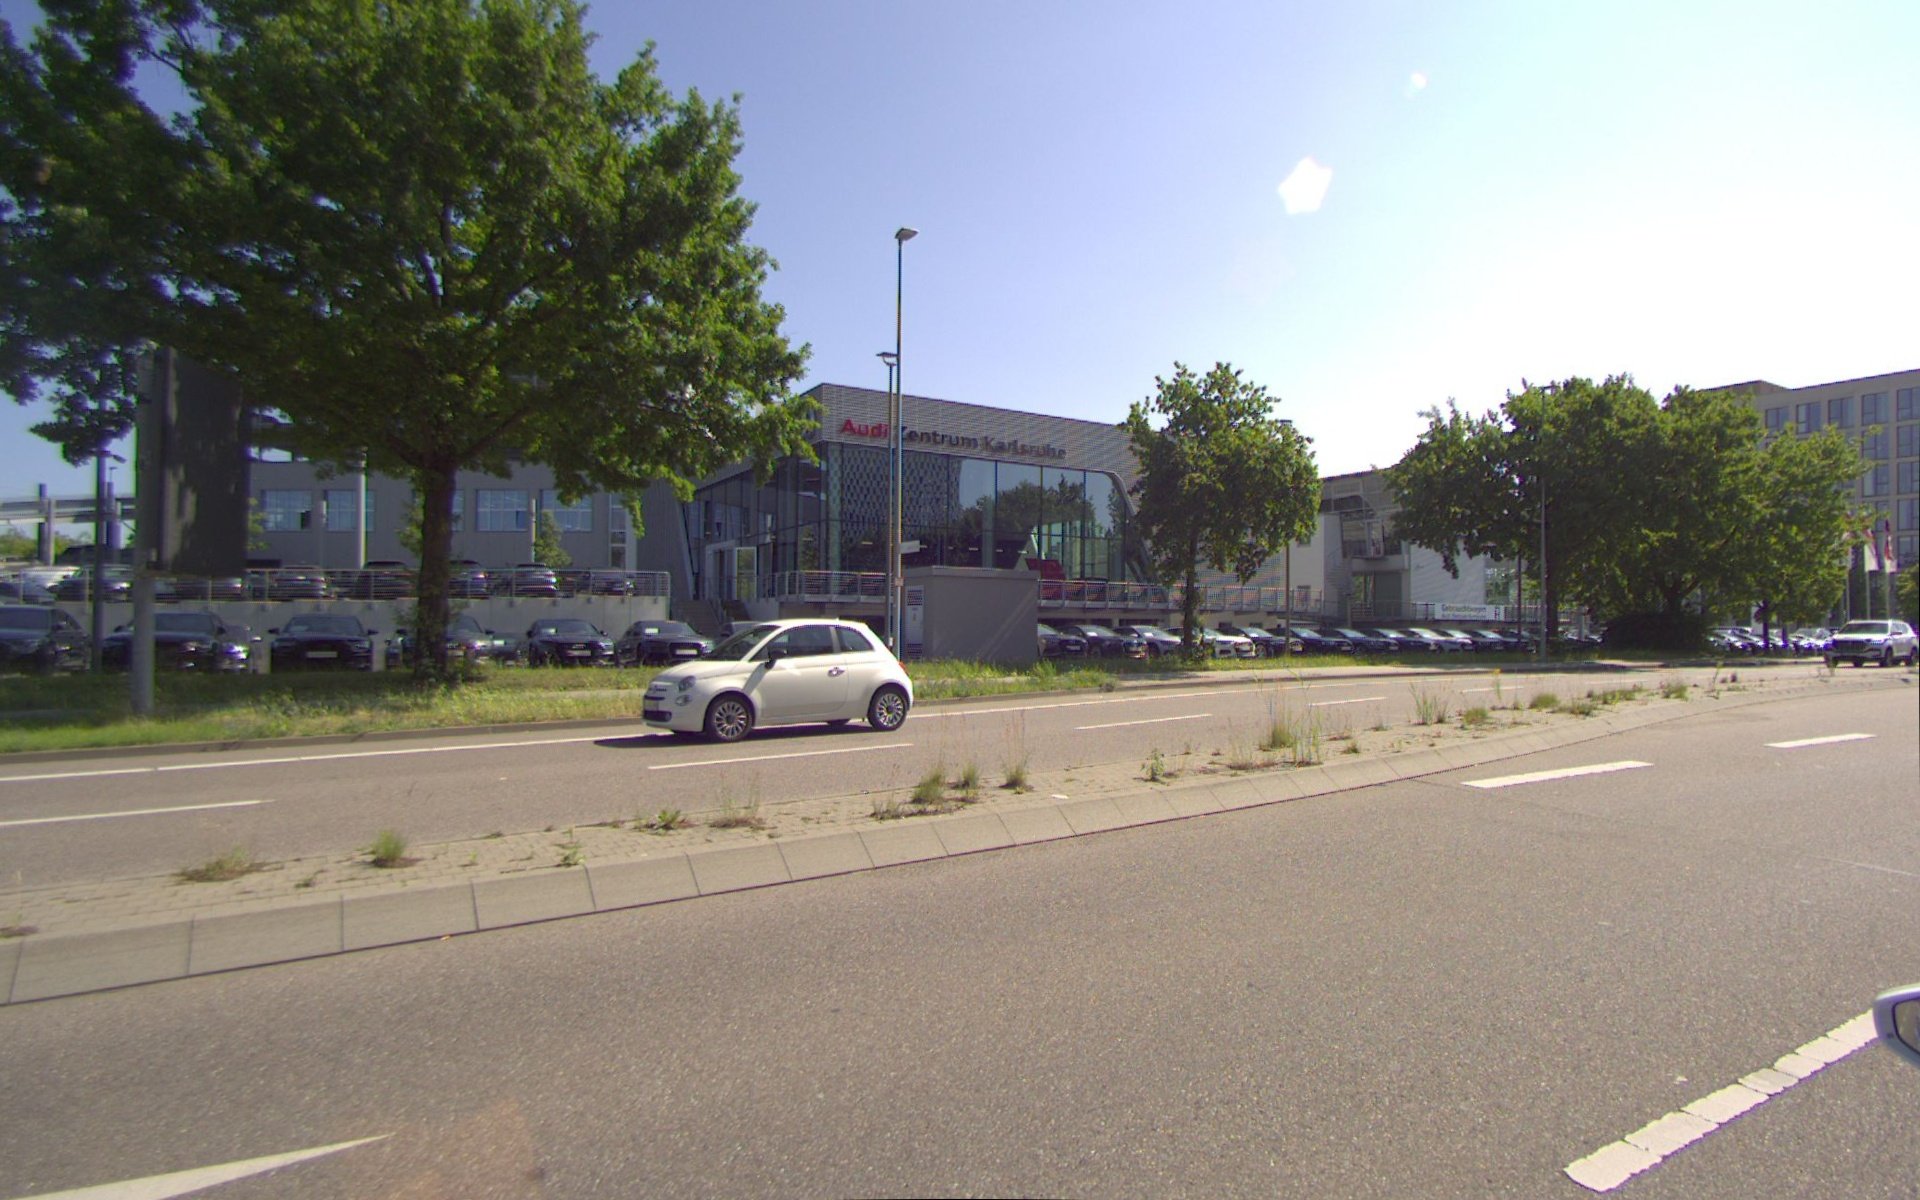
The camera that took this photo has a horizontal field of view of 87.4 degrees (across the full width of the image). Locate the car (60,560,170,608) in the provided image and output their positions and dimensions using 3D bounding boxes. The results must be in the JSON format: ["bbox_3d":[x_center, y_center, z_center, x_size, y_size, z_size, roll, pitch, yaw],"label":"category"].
[{"bbox_3d":[-27.490,-0.467,32.832,1.930,1.368,4.247,1,-1,-29],"label":"car"}]

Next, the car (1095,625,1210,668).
[{"bbox_3d":[6.660,1.584,35.119,1.843,1.394,3.968,1,-2,-30],"label":"car"}]

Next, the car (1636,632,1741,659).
[{"bbox_3d":[38.976,2.394,53.838,1.977,1.361,4.129,1,-2,-31],"label":"car"}]

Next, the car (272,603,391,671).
[{"bbox_3d":[-13.912,0.797,22.459,1.929,1.368,4.249,1,-1,-28],"label":"car"}]

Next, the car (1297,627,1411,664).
[{"bbox_3d":[15.750,1.791,40.345,1.902,1.394,3.968,1,-2,-30],"label":"car"}]

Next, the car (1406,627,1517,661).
[{"bbox_3d":[21.882,1.900,43.952,1.902,1.394,3.968,1,-2,-30],"label":"car"}]

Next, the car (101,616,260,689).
[{"bbox_3d":[-16.388,1.048,21.352,1.929,1.368,4.249,1,-1,-28],"label":"car"}]

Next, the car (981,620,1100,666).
[{"bbox_3d":[2.543,1.363,32.564,1.977,1.394,3.968,1,-2,-30],"label":"car"}]

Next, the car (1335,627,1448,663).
[{"bbox_3d":[17.789,1.832,41.557,1.902,1.394,3.968,1,-2,-30],"label":"car"}]

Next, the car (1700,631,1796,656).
[{"bbox_3d":[45.551,2.475,58.127,1.978,1.361,3.965,1,-2,-32],"label":"car"}]

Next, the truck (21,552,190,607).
[{"bbox_3d":[-52.107,-1.128,61.659,2.612,2.955,8.468,0,-1,5],"label":"truck"}]

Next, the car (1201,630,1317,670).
[{"bbox_3d":[11.167,1.831,37.761,1.902,1.394,3.968,1,-2,-30],"label":"car"}]

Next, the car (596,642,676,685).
[{"bbox_3d":[-11.688,2.238,36.069,1.930,1.368,4.247,1,-1,-29],"label":"car"}]

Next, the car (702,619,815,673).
[{"bbox_3d":[-5.634,1.216,27.704,1.929,1.368,4.249,1,-1,-28],"label":"car"}]

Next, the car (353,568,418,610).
[{"bbox_3d":[-21.019,-0.364,36.848,1.930,1.368,4.247,1,-1,-29],"label":"car"}]

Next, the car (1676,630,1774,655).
[{"bbox_3d":[43.032,2.365,56.591,1.977,1.361,3.967,1,-2,-31],"label":"car"}]

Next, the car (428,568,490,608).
[{"bbox_3d":[-19.061,-0.413,38.133,1.930,1.368,4.247,1,-1,-29],"label":"car"}]

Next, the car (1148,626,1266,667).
[{"bbox_3d":[8.912,1.646,36.532,2.001,1.394,4.023,1,-2,-30],"label":"car"}]

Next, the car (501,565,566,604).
[{"bbox_3d":[-17.015,-0.569,39.976,1.930,1.368,4.247,1,-1,-29],"label":"car"}]

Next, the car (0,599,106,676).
[{"bbox_3d":[-18.648,0.700,19.731,1.929,1.368,4.249,1,-1,-28],"label":"car"}]

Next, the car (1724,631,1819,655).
[{"bbox_3d":[48.084,2.534,59.558,1.977,1.361,3.967,1,-2,-31],"label":"car"}]

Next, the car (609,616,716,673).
[{"bbox_3d":[-7.934,1.133,26.518,1.929,1.368,4.249,1,-1,-28],"label":"car"}]

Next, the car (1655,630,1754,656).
[{"bbox_3d":[41.056,2.336,55.442,1.977,1.361,3.967,1,-2,-31],"label":"car"}]

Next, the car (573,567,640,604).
[{"bbox_3d":[-14.639,-0.549,41.440,1.930,1.368,4.247,1,-1,-29],"label":"car"}]

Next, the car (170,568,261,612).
[{"bbox_3d":[-25.332,-0.297,34.318,1.930,1.368,4.247,1,-1,-29],"label":"car"}]

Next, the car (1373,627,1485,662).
[{"bbox_3d":[19.912,1.865,42.812,1.902,1.394,3.968,1,-2,-30],"label":"car"}]

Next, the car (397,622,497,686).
[{"bbox_3d":[-12.132,1.211,23.750,1.929,1.368,4.249,1,-1,-28],"label":"car"}]

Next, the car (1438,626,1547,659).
[{"bbox_3d":[23.884,1.891,45.203,1.902,1.394,3.968,1,-2,-30],"label":"car"}]

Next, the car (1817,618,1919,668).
[{"bbox_3d":[35.655,1.643,39.263,4.884,1.857,1.982,1,-2,-33],"label":"car"}]

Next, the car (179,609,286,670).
[{"bbox_3d":[-21.387,1.133,29.710,1.929,1.664,4.249,1,-1,-28],"label":"car"}]

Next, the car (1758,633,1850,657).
[{"bbox_3d":[52.188,2.770,62.147,1.977,1.361,3.967,1,-2,-31],"label":"car"}]

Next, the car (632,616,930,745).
[{"bbox_3d":[-2.310,0.990,13.204,3.513,1.483,1.644,1,-3,-34],"label":"car"}]

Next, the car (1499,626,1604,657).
[{"bbox_3d":[28.391,1.953,48.322,1.902,1.394,3.968,1,-2,-30],"label":"car"}]

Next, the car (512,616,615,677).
[{"bbox_3d":[-10.012,1.109,25.186,1.929,1.368,4.249,1,-1,-28],"label":"car"}]

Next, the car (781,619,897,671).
[{"bbox_3d":[-3.535,1.242,28.669,1.929,1.368,4.249,1,-1,-28],"label":"car"}]

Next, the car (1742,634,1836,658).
[{"bbox_3d":[50.193,2.751,60.881,1.977,1.361,3.967,1,-2,-31],"label":"car"}]

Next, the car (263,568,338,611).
[{"bbox_3d":[-23.635,-0.326,36.133,1.930,1.368,4.247,1,-1,-29],"label":"car"}]

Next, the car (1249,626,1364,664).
[{"bbox_3d":[13.394,1.713,38.992,1.902,1.394,3.968,1,-2,-30],"label":"car"}]

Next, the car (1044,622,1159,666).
[{"bbox_3d":[4.719,1.451,34.009,1.843,1.394,3.968,1,-2,-30],"label":"car"}]

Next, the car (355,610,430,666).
[{"bbox_3d":[-18.079,1.187,32.165,1.929,1.664,4.249,1,-1,-28],"label":"car"}]

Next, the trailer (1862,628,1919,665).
[{"bbox_3d":[40.143,1.921,42.170,5.710,1.472,1.982,1,-2,-33],"label":"trailer"}]
